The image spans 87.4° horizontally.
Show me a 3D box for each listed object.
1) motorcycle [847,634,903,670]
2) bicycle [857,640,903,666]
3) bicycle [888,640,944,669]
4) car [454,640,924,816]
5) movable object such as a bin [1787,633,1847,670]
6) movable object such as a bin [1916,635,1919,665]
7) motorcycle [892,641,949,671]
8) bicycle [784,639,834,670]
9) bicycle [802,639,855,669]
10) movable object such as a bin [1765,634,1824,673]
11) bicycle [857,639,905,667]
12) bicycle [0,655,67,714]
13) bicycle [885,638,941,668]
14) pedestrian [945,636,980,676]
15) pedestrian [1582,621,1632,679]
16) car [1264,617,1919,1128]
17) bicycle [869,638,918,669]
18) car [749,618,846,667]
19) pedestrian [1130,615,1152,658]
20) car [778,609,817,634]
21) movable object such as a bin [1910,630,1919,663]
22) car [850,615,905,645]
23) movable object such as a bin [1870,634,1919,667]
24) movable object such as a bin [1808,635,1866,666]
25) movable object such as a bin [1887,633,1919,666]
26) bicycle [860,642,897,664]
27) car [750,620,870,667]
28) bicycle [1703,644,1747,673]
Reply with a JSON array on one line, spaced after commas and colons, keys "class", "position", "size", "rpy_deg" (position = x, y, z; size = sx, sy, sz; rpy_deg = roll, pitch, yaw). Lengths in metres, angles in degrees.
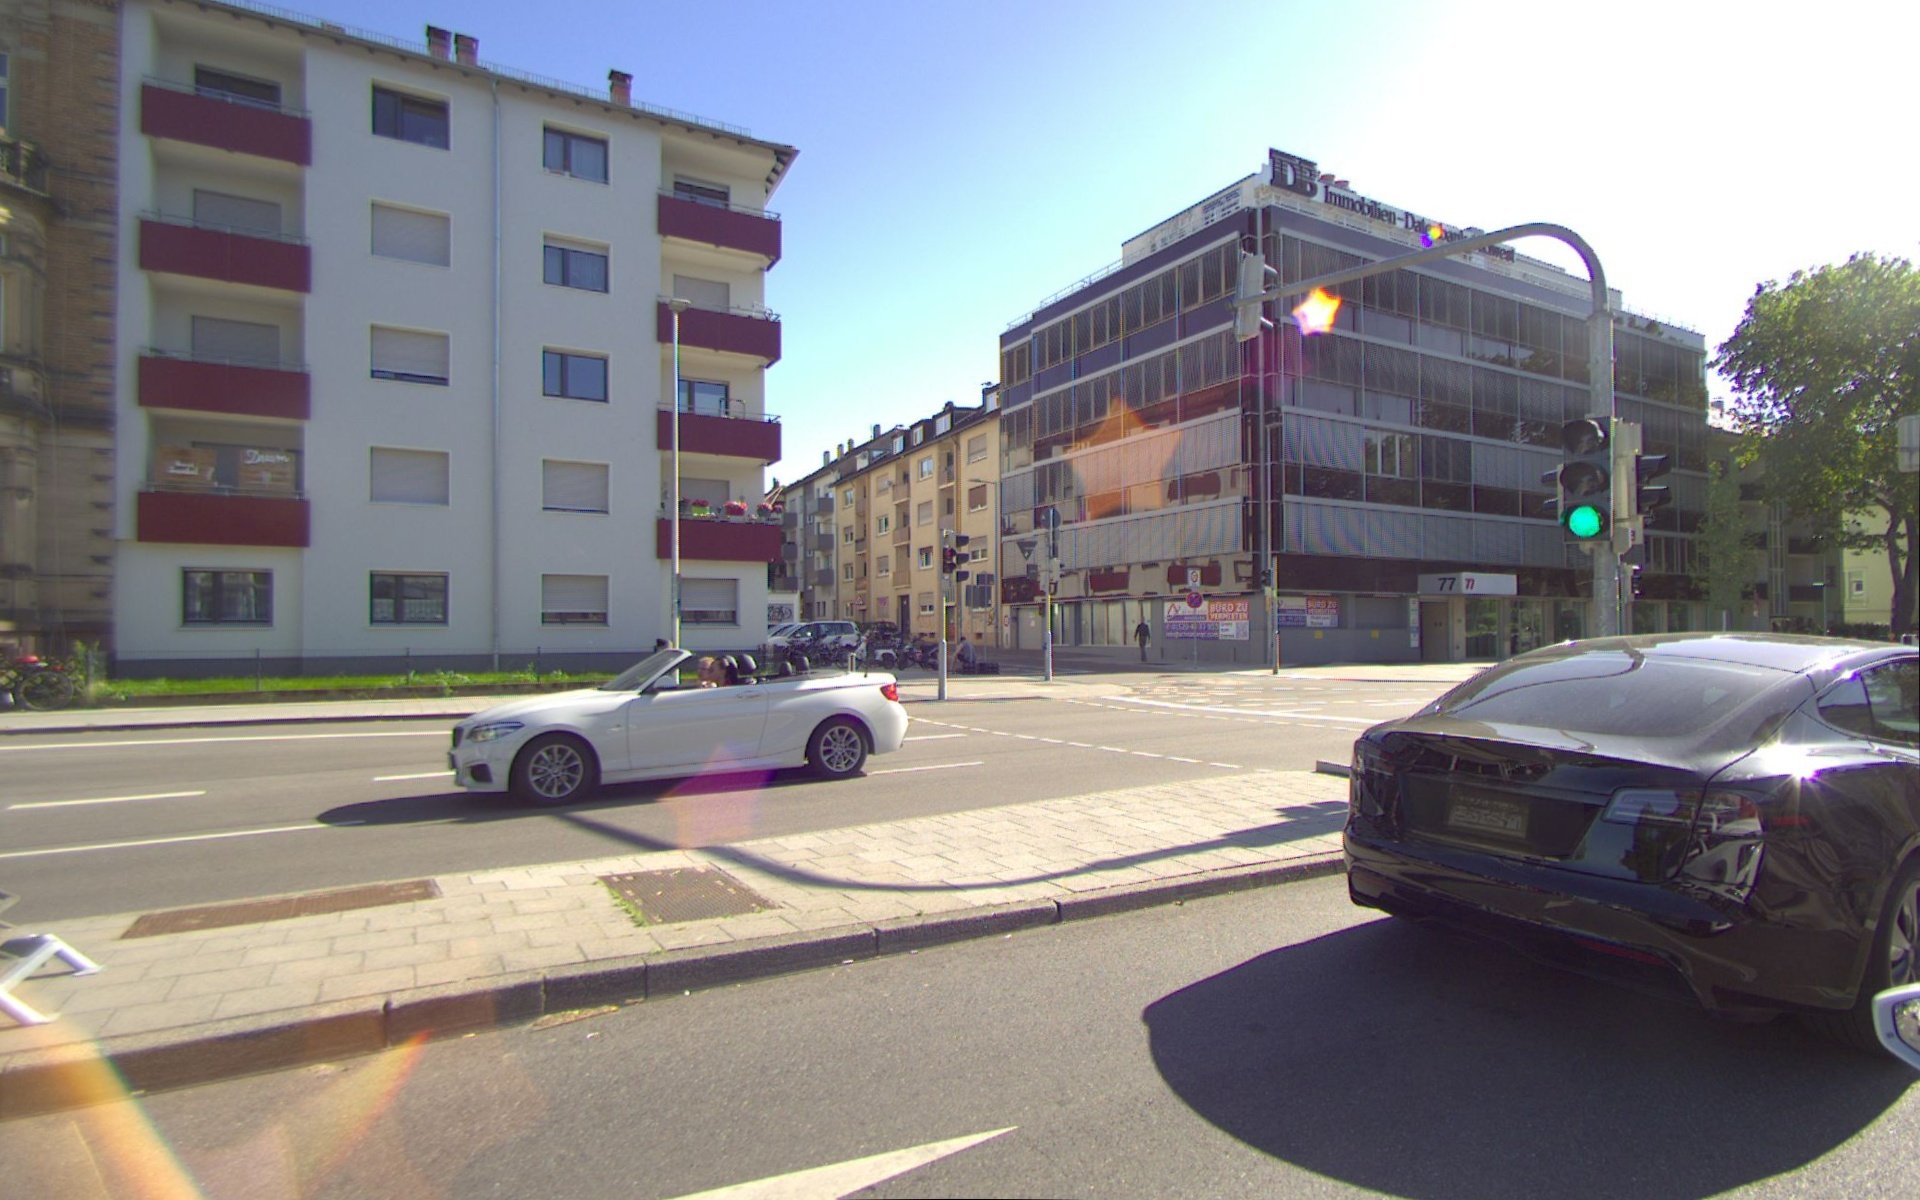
[{"class": "motorcycle", "position": [-2.798, 1.723, 33.240], "size": [1.757, 1.157, 0.610], "rpy_deg": [0, -1, -21]}, {"class": "bicycle", "position": [-3.004, 1.974, 37.659], "size": [1.702, 0.960, 0.456], "rpy_deg": [1, -1, -28]}, {"class": "bicycle", "position": [-1.543, 1.901, 35.260], "size": [1.922, 0.960, 0.476], "rpy_deg": [0, -1, -21]}, {"class": "car", "position": [-2.692, 1.127, 10.166], "size": [4.265, 1.363, 1.922], "rpy_deg": [0, -2, -30]}, {"class": "movable object such as a bin", "position": [33.586, 2.012, 39.358], "size": [1.832, 1.406, 1.210], "rpy_deg": [1, -1, -28]}, {"class": "movable object such as a bin", "position": [42.807, 2.180, 43.974], "size": [1.522, 1.287, 0.975], "rpy_deg": [1, -1, -30]}, {"class": "motorcycle", "position": [-1.281, 1.825, 32.870], "size": [1.815, 0.948, 0.502], "rpy_deg": [0, -1, -23]}, {"class": "bicycle", "position": [-5.331, 1.910, 35.543], "size": [1.667, 1.072, 0.572], "rpy_deg": [0, -1, -25]}, {"class": "bicycle", "position": [-4.438, 1.817, 33.906], "size": [1.713, 0.982, 0.572], "rpy_deg": [0, -1, -25]}, {"class": "movable object such as a bin", "position": [31.641, 2.017, 38.107], "size": [1.832, 1.406, 1.110], "rpy_deg": [1, -1, -28]}, {"class": "bicycle", "position": [-2.885, 1.933, 36.770], "size": [1.713, 1.017, 0.507], "rpy_deg": [0, -1, -25]}, {"class": "bicycle", "position": [-16.401, 1.432, 16.969], "size": [1.917, 0.971, 0.303], "rpy_deg": [0, -2, -30]}, {"class": "bicycle", "position": [-1.619, 1.824, 34.568], "size": [1.852, 0.991, 0.507], "rpy_deg": [0, -1, -14]}, {"class": "pedestrian", "position": [0.081, 1.670, 30.304], "size": [0.783, 1.168, 0.711], "rpy_deg": [1, -2, -42]}, {"class": "pedestrian", "position": [19.616, 1.505, 30.463], "size": [0.998, 1.733, 0.863], "rpy_deg": [0, -1, -23]}, {"class": "car", "position": [3.809, 0.872, 4.813], "size": [4.571, 1.430, 1.916], "rpy_deg": [2, -3, -30]}, {"class": "bicycle", "position": [-2.366, 1.901, 35.839], "size": [1.714, 1.082, 0.487], "rpy_deg": [0, -1, -28]}, {"class": "car", "position": [-6.827, 1.772, 42.247], "size": [3.744, 1.981, 1.690], "rpy_deg": [1, -1, -27]}, {"class": "pedestrian", "position": [7.123, 1.437, 39.479], "size": [0.687, 1.680, 0.746], "rpy_deg": [-1, -1, 24]}, {"class": "car", "position": [-11.823, 1.541, 72.763], "size": [1.971, 1.796, 3.979], "rpy_deg": [0, 0, -22]}, {"class": "movable object such as a bin", "position": [44.112, 2.100, 45.337], "size": [1.608, 1.441, 1.259], "rpy_deg": [-1, -2, 35]}, {"class": "car", "position": [-4.849, 1.727, 58.360], "size": [1.973, 1.623, 3.976], "rpy_deg": [0, -1, -25]}, {"class": "movable object such as a bin", "position": [39.730, 2.115, 42.553], "size": [1.142, 1.355, 1.405], "rpy_deg": [1, -1, -27]}, {"class": "movable object such as a bin", "position": [35.087, 2.011, 40.195], "size": [1.225, 1.219, 1.389], "rpy_deg": [1, -1, -27]}, {"class": "movable object such as a bin", "position": [40.748, 2.111, 42.930], "size": [0.924, 1.355, 1.405], "rpy_deg": [1, -1, -27]}, {"class": "bicycle", "position": [-3.134, 2.041, 38.788], "size": [0.408, 0.825, 1.717], "rpy_deg": [-1, -2, 36]}, {"class": "car", "position": [-5.984, 1.698, 40.117], "size": [4.416, 1.754, 1.989], "rpy_deg": [0, -1, -24]}, {"class": "bicycle", "position": [28.881, 2.187, 37.919], "size": [1.856, 1.051, 0.624], "rpy_deg": [1, -1, -29]}]
